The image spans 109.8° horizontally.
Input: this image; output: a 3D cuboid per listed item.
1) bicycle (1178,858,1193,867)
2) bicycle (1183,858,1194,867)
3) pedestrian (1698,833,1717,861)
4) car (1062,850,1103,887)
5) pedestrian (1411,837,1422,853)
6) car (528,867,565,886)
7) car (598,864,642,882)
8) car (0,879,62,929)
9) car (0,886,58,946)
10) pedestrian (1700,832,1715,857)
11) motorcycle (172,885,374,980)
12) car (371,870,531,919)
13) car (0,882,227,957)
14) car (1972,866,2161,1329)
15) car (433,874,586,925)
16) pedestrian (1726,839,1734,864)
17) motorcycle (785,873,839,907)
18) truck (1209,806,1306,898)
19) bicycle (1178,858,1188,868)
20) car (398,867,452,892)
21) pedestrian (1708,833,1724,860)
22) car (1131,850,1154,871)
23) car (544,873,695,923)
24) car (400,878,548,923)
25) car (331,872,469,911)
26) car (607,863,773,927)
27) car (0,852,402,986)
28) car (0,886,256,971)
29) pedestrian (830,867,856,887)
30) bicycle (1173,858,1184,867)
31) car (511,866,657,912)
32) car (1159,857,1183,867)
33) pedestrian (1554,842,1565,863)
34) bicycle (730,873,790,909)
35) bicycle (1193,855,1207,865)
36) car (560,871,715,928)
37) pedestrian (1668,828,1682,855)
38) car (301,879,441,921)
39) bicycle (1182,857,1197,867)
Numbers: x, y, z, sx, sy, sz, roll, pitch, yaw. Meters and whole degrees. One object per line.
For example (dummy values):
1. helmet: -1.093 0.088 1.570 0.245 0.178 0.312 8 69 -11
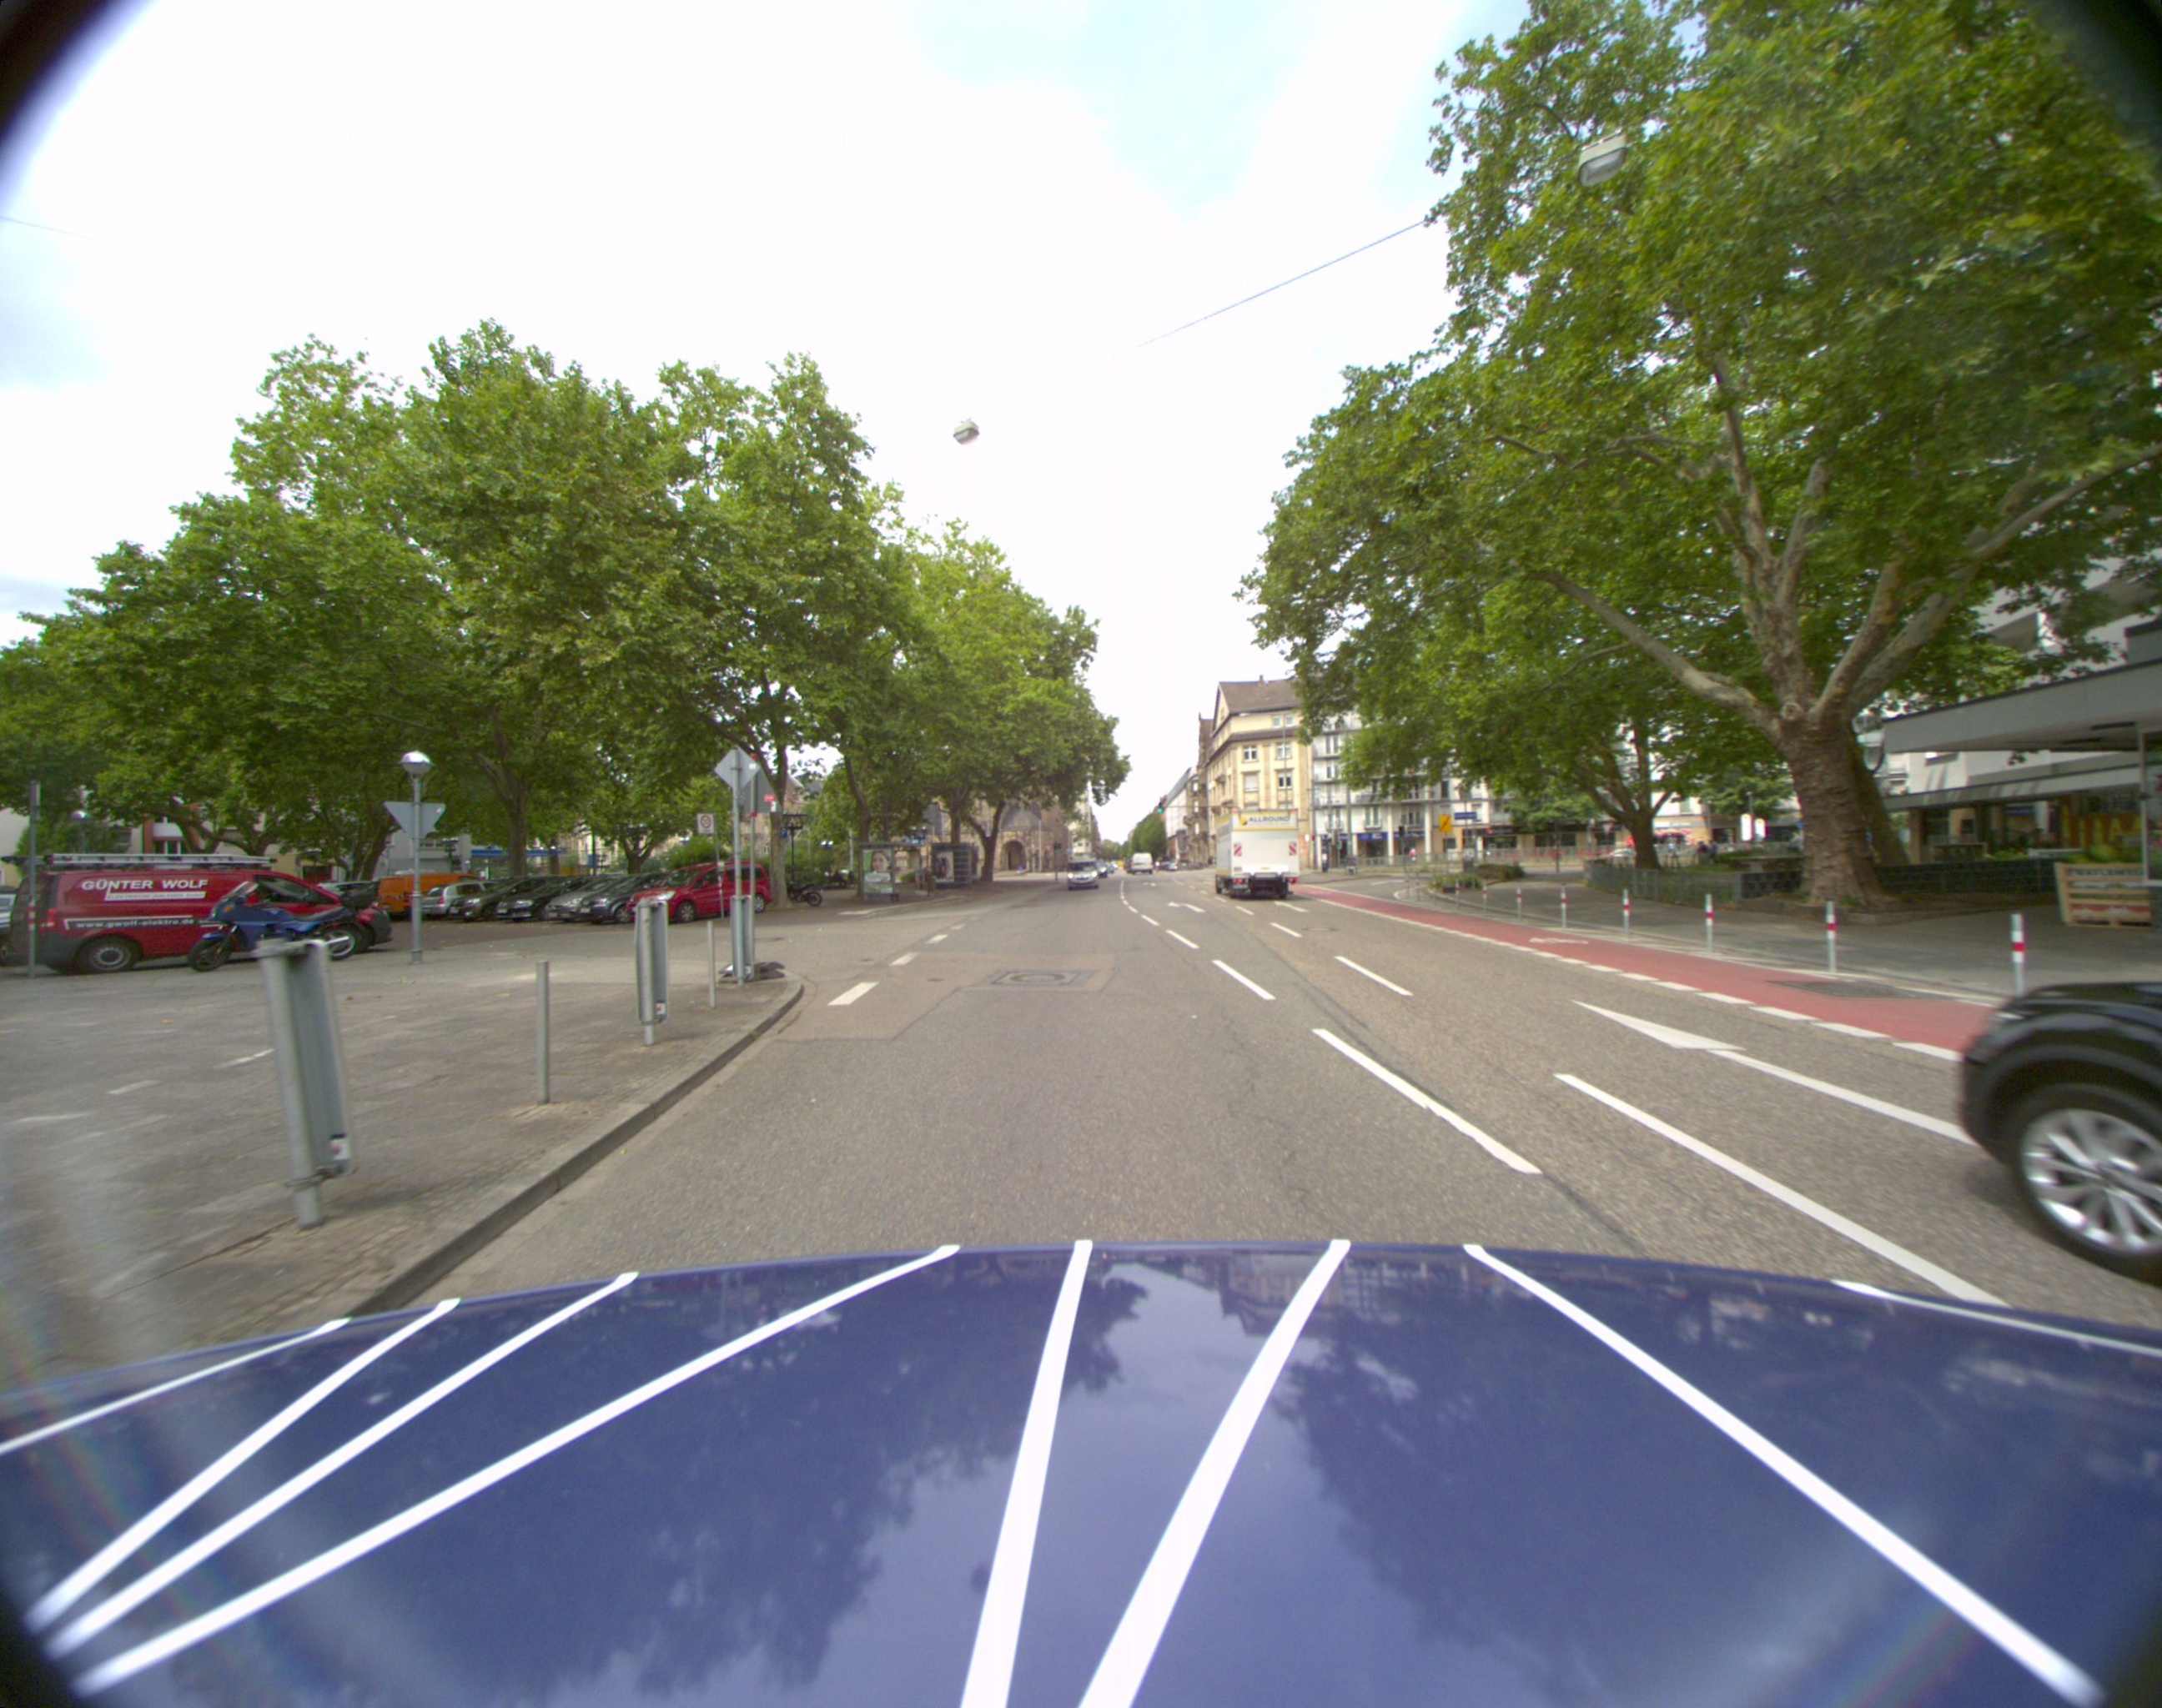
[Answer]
1. bicycle: 13.852 1.119 101.039 1.872 1.185 0.456 -2 -1 22
2. bicycle: 14.485 1.153 102.523 1.345 1.185 0.397 -3 0 -1
3. pedestrian: 36.583 -0.416 44.351 0.683 1.626 0.697 -1 0 24
4. car: 0.130 0.823 45.283 2.081 2.039 4.682 -1 0 4
5. pedestrian: 31.281 -0.833 70.858 0.837 1.543 0.869 -2 0 26
6. car: -53.975 2.264 76.748 3.989 1.805 2.004 -2 -1 40
7. car: -50.821 2.132 83.742 4.371 1.866 2.003 -2 -1 24
8. car: -39.497 1.850 26.701 1.995 1.718 4.006 -2 0 24
9. car: -30.982 1.756 20.150 1.995 1.581 4.201 -2 0 24
10. pedestrian: 50.329 -0.760 61.050 0.756 2.002 0.762 -1 0 27
11. motorcycle: -14.097 1.317 13.382 0.833 1.453 2.308 -1 -1 14
12. car: -25.404 1.577 30.859 1.995 1.685 4.567 -1 0 23
13. car: -23.852 1.514 18.125 1.995 1.479 4.202 -2 0 25
14. car: 4.250 0.799 1.002 1.701 1.509 4.002 0 0 6
15. car: -20.942 1.622 28.056 1.995 1.589 4.006 -1 0 23
16. pedestrian: 52.442 -0.168 61.425 0.368 2.002 0.503 -1 0 26
17. motorcycle: -10.341 1.385 29.220 1.859 1.215 0.531 -2 0 0
18. truck: 6.554 -0.078 29.169 2.547 3.089 7.022 0 0 4
19. bicycle: 13.967 1.244 104.028 1.345 1.185 0.397 -4 0 1
20. car: -59.022 2.280 68.359 4.019 2.095 2.003 -2 0 22
21. pedestrian: 37.394 -0.435 44.757 0.505 1.614 0.697 -1 0 24
22. car: 5.881 0.638 73.051 1.928 1.925 4.948 -2 0 2
23. car: -16.090 1.492 26.725 1.747 1.455 4.192 -1 0 26
24. car: -23.494 1.771 29.591 1.995 1.455 4.006 -1 0 23
25. car: -30.003 1.620 33.619 1.995 1.455 4.006 -1 0 23
26. car: -12.032 1.199 23.728 1.934 1.696 4.337 -1 0 22
27. car: -16.915 1.073 14.947 1.995 2.137 4.852 -2 0 25
28. car: -21.571 1.554 16.706 1.995 1.495 4.202 -2 0 25
29. pedestrian: -15.566 1.504 49.750 1.096 1.206 1.142 -1 1 27
30. bicycle: 13.291 1.169 103.238 1.345 1.185 0.397 -4 0 -4
31. car: -18.127 1.239 27.906 1.995 1.455 4.006 -1 0 23
32. car: 15.642 1.382 132.239 3.834 1.526 1.755 -1 -1 -32
33. pedestrian: 36.559 -0.120 58.030 0.597 1.543 0.671 -1 0 24
34. bicycle: -12.691 1.434 30.096 0.419 1.369 2.316 -1 -1 34
35. bicycle: 15.906 0.786 101.458 1.830 1.185 0.398 -4 -1 2
36. car: -14.283 1.412 24.729 1.829 1.543 4.006 -1 0 23
37. pedestrian: 49.495 -1.015 63.333 0.756 2.237 0.762 -1 0 27
38. car: -32.448 2.048 34.867 1.995 1.608 4.211 -1 0 23
39. bicycle: 14.563 1.093 101.982 1.821 1.185 0.397 -5 0 -1
